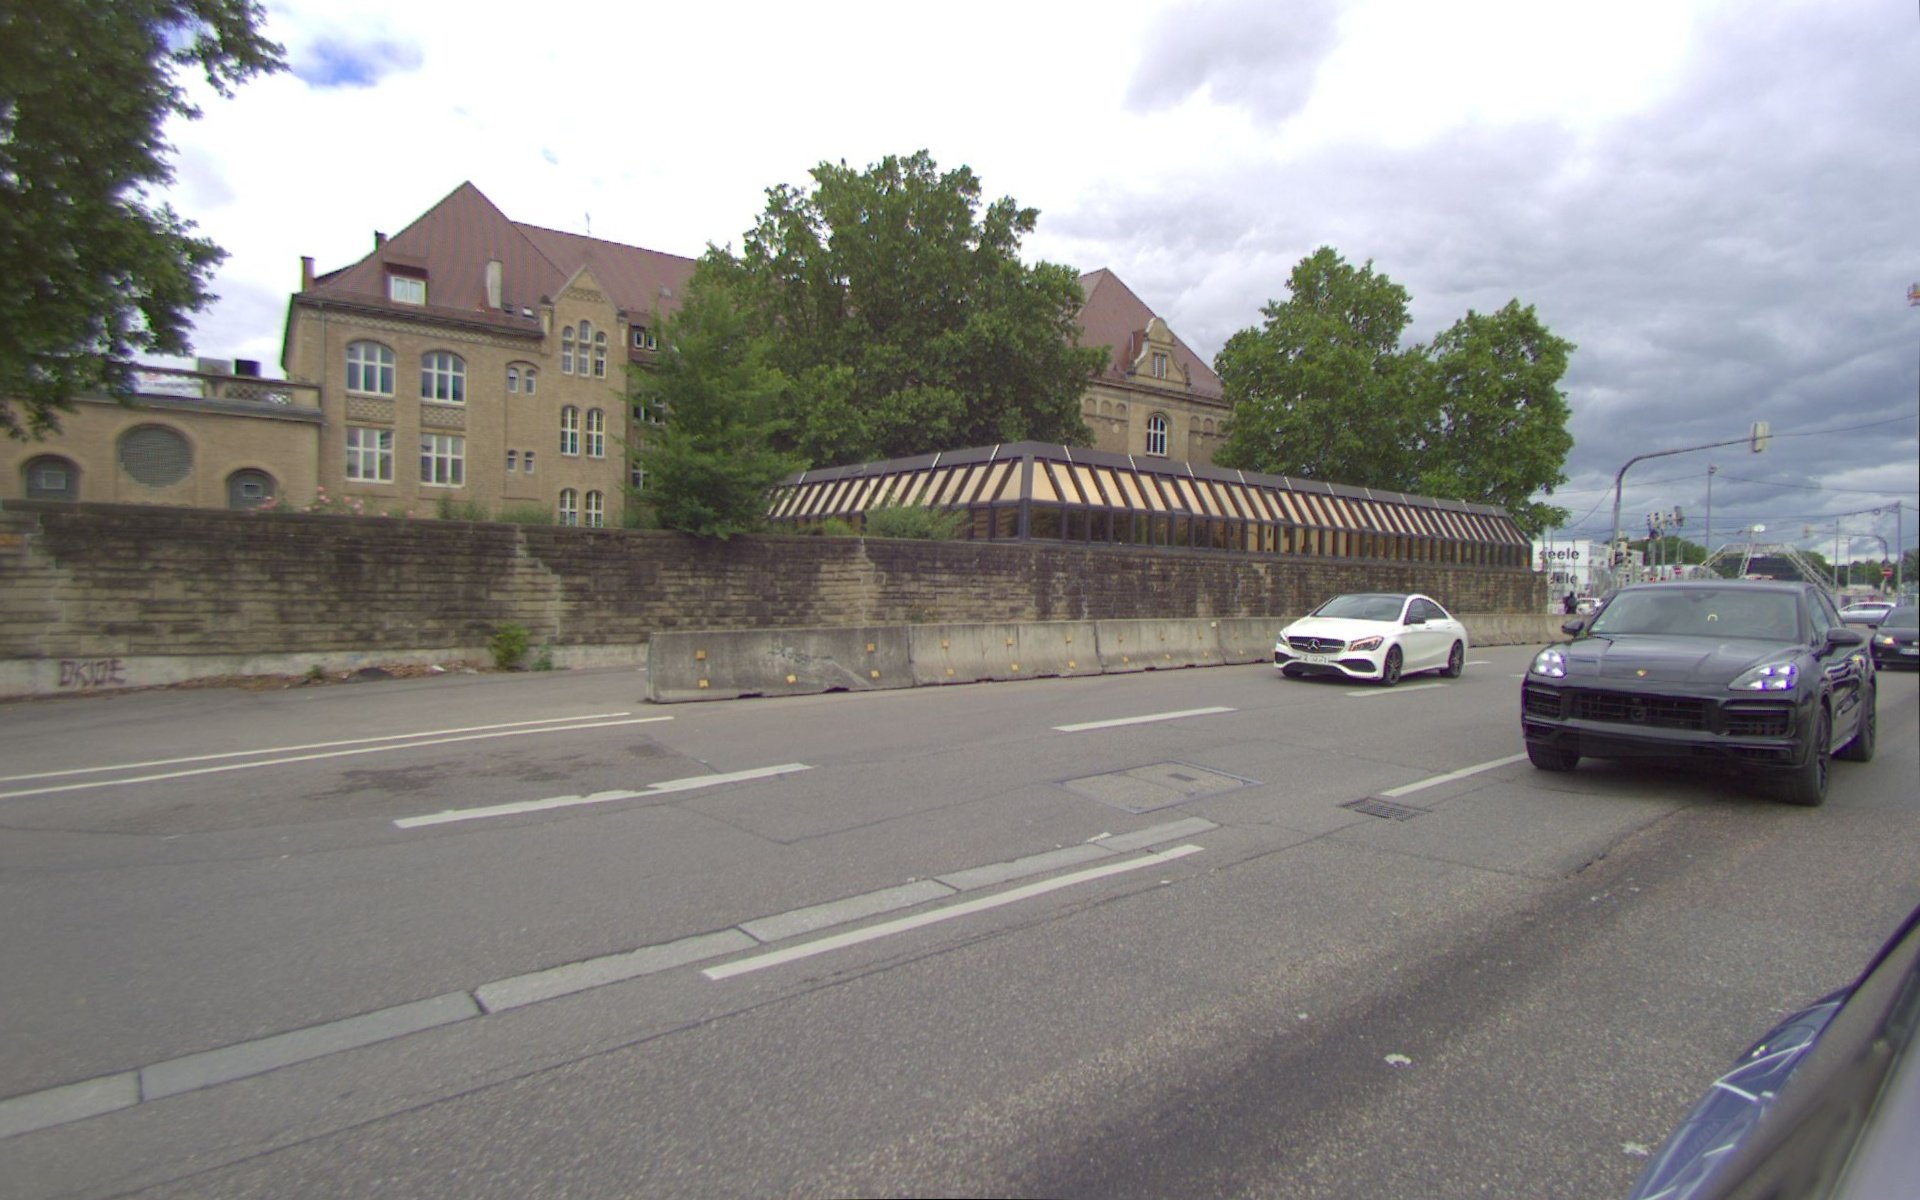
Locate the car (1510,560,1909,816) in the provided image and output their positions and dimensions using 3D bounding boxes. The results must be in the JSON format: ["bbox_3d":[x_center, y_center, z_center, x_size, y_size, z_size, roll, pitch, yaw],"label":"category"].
[{"bbox_3d":[6.818,0.501,9.005,4.530,1.667,1.954,-2,4,-42],"label":"car"}]

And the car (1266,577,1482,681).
[{"bbox_3d":[6.916,0.376,16.667,1.736,1.453,4.310,3,3,45],"label":"car"}]

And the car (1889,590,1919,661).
[{"bbox_3d":[22.732,0.562,23.332,1.730,1.488,4.348,3,3,45],"label":"car"}]

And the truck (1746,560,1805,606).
[{"bbox_3d":[70.408,-1.538,87.555,2.889,3.720,8.924,2,2,32],"label":"truck"}]

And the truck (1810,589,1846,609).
[{"bbox_3d":[71.579,-0.128,83.513,1.814,1.559,3.715,2,1,34],"label":"truck"}]

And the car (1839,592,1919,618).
[{"bbox_3d":[63.248,0.362,69.635,4.060,1.593,1.665,3,1,44],"label":"car"}]

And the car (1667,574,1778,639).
[{"bbox_3d":[25.181,0.201,33.390,3.605,1.961,1.939,0,3,-37],"label":"car"}]

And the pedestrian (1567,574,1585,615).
[{"bbox_3d":[30.731,-0.278,50.496,0.616,2.039,0.844,0,0,23],"label":"pedestrian"}]
